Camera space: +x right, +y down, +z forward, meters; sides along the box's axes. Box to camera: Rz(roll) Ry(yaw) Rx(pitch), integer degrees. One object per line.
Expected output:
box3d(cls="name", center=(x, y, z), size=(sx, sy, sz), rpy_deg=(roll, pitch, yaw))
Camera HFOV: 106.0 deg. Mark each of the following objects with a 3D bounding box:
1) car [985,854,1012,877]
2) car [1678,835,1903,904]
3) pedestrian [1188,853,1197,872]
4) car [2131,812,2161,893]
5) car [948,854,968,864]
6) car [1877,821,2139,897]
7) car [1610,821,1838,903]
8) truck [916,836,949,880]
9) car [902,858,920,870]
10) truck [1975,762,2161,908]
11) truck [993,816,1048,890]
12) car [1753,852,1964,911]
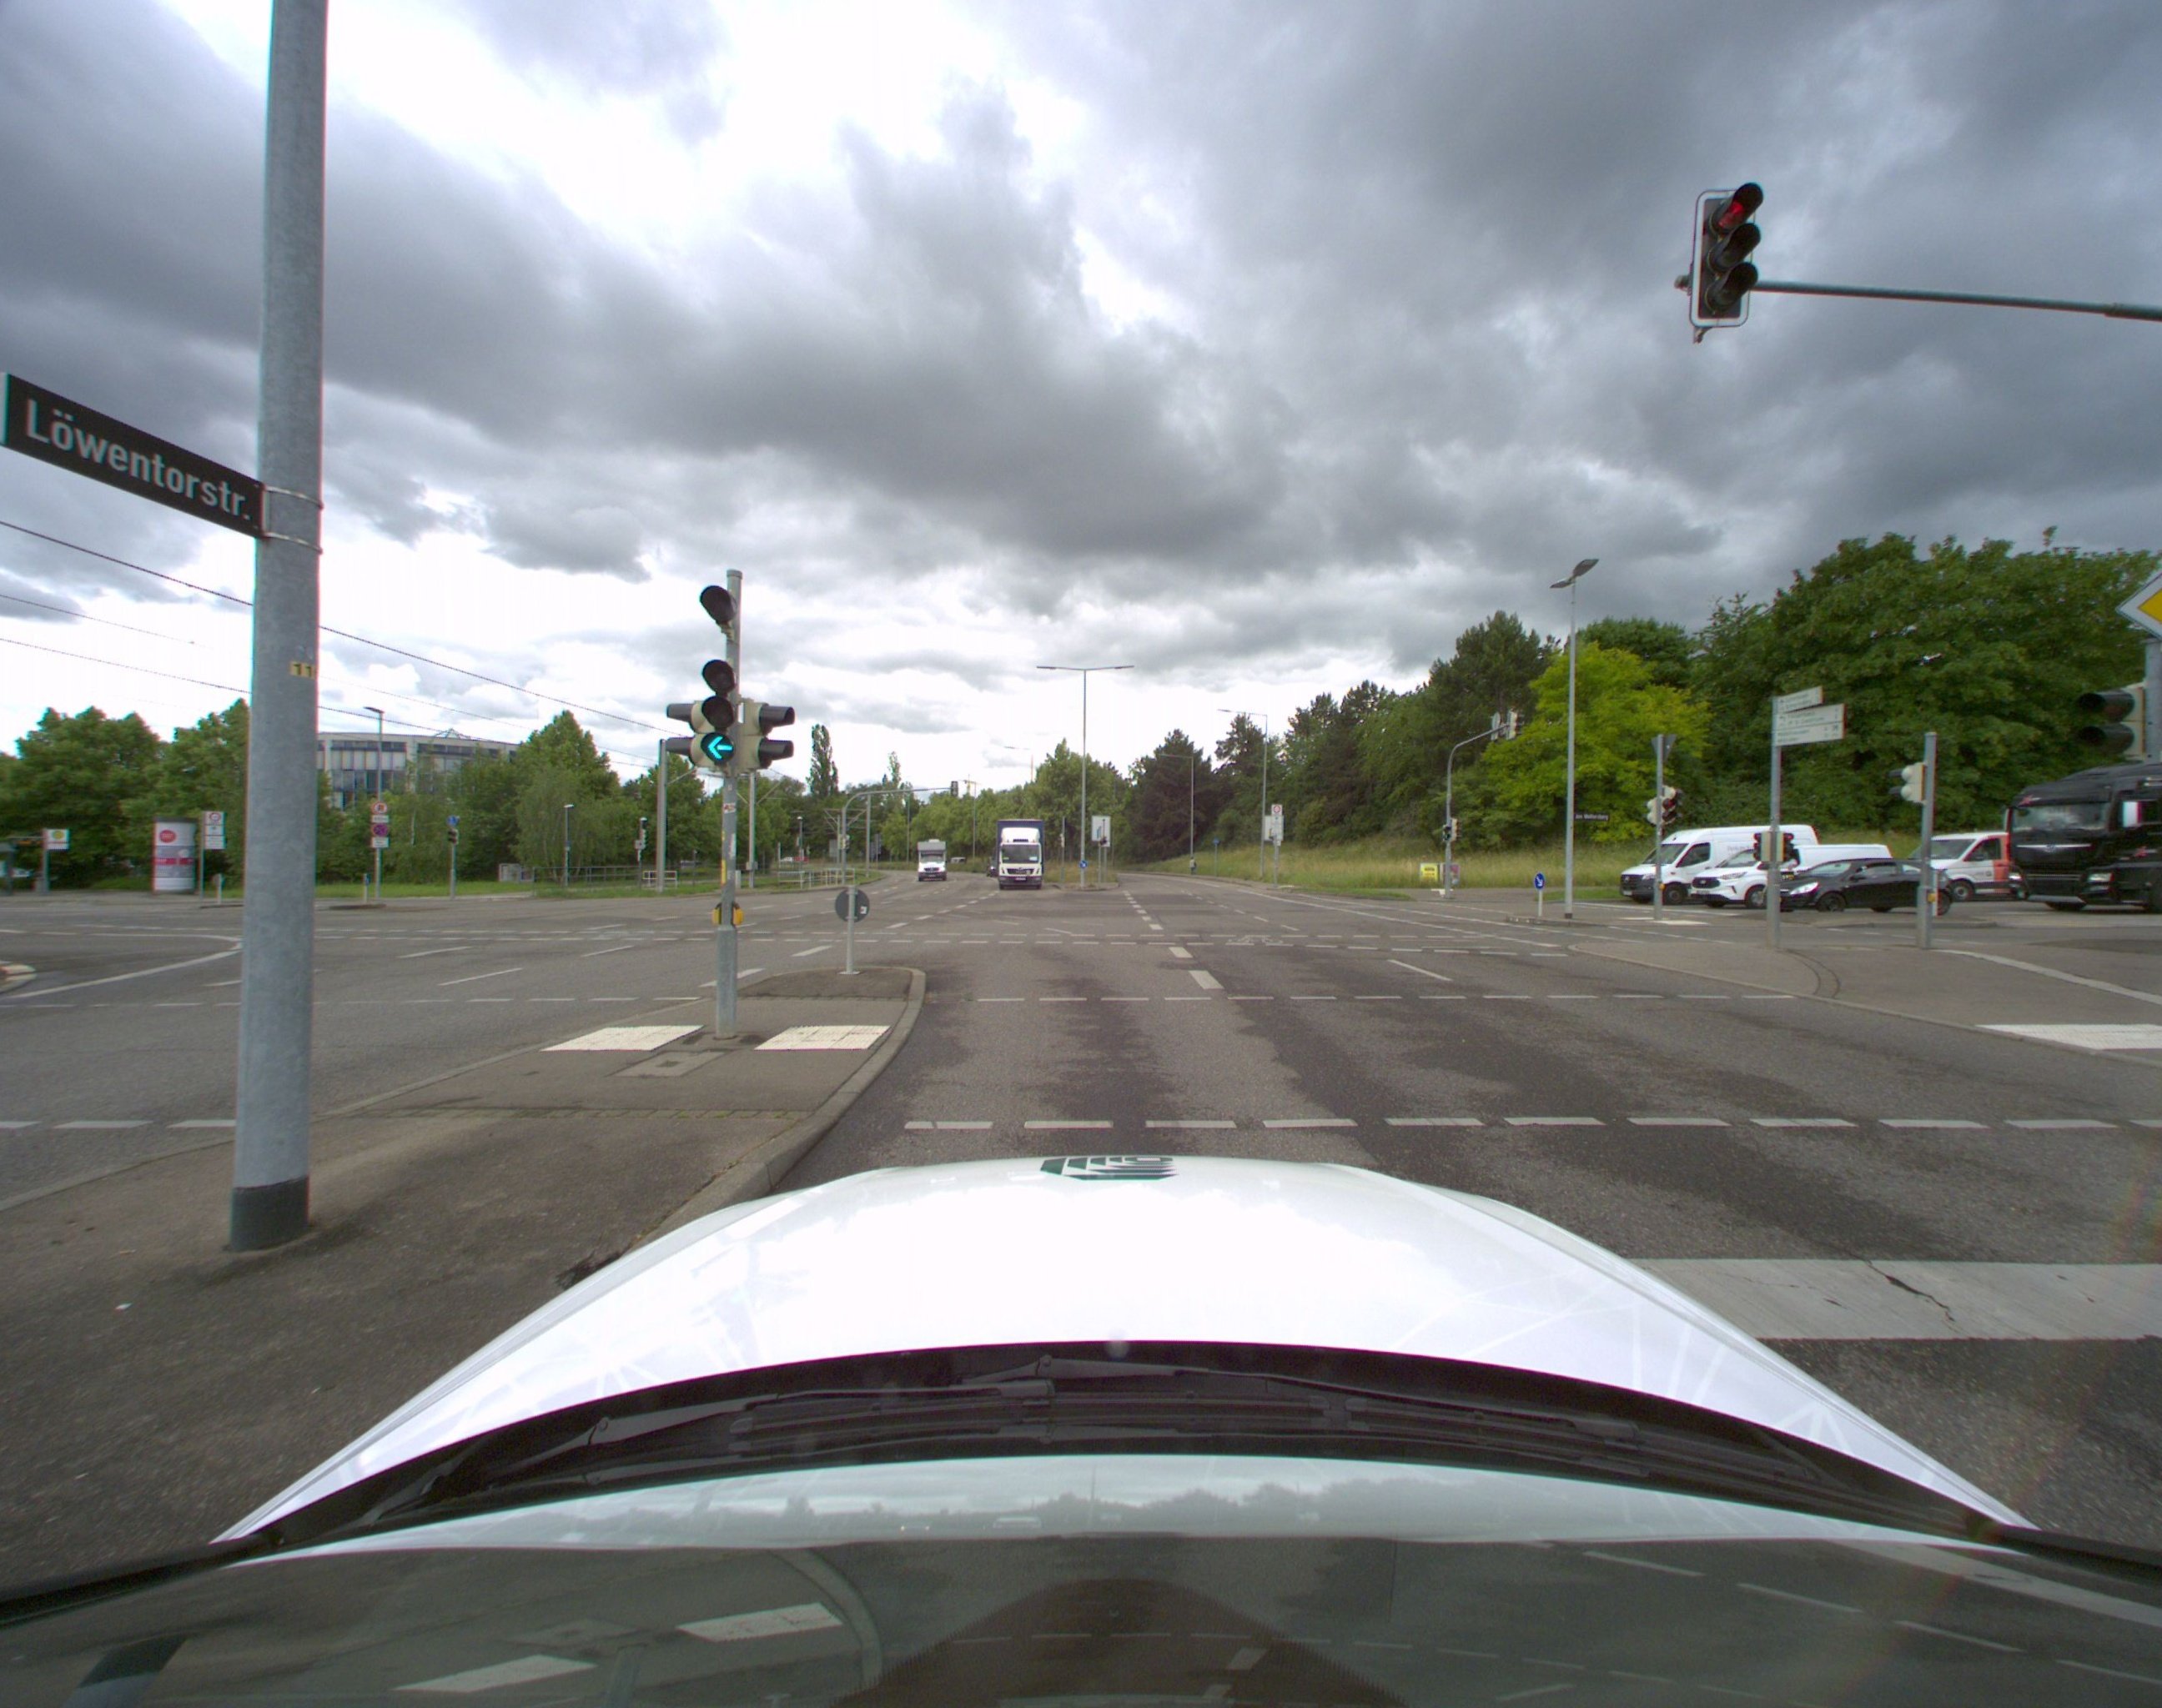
box3d(cls="car", center=(-7.522, 1.028, 73.978), size=(1.994, 2.013, 4.591), rpy_deg=(0, 0, -11))
box3d(cls="car", center=(21.581, 0.493, 24.958), size=(4.952, 1.991, 2.121), rpy_deg=(-1, -2, 2))
box3d(cls="pedestrian", center=(10.148, 0.734, 73.870), size=(0.736, 1.717, 0.625), rpy_deg=(0, 0, 1))
box3d(cls="car", center=(39.908, -0.089, 27.105), size=(6.635, 2.721, 2.230), rpy_deg=(-1, -1, 3))
box3d(cls="car", center=(-20.685, 0.826, 136.973), size=(2.008, 1.728, 3.687), rpy_deg=(0, 0, -35))
box3d(cls="car", center=(30.882, 0.186, 27.326), size=(5.913, 2.386, 2.231), rpy_deg=(-1, -1, 4))
box3d(cls="car", center=(21.950, 0.296, 28.023), size=(5.915, 2.659, 2.230), rpy_deg=(-1, -1, 3))
box3d(cls="truck", center=(-11.114, 0.315, 61.223), size=(2.105, 3.010, 6.252), rpy_deg=(-4, 0, -10))
box3d(cls="car", center=(-24.677, 1.433, 117.937), size=(2.001, 1.783, 3.972), rpy_deg=(0, 0, -21))
box3d(cls="truck", center=(27.968, -0.460, 21.126), size=(5.915, 3.518, 3.077), rpy_deg=(-1, -1, 3))
box3d(cls="truck", center=(-3.424, -0.052, 46.263), size=(2.773, 3.804, 8.376), rpy_deg=(0, 0, -4))
box3d(cls="car", center=(20.244, 0.701, 21.320), size=(3.836, 1.442, 1.638), rpy_deg=(-1, 0, 4))
